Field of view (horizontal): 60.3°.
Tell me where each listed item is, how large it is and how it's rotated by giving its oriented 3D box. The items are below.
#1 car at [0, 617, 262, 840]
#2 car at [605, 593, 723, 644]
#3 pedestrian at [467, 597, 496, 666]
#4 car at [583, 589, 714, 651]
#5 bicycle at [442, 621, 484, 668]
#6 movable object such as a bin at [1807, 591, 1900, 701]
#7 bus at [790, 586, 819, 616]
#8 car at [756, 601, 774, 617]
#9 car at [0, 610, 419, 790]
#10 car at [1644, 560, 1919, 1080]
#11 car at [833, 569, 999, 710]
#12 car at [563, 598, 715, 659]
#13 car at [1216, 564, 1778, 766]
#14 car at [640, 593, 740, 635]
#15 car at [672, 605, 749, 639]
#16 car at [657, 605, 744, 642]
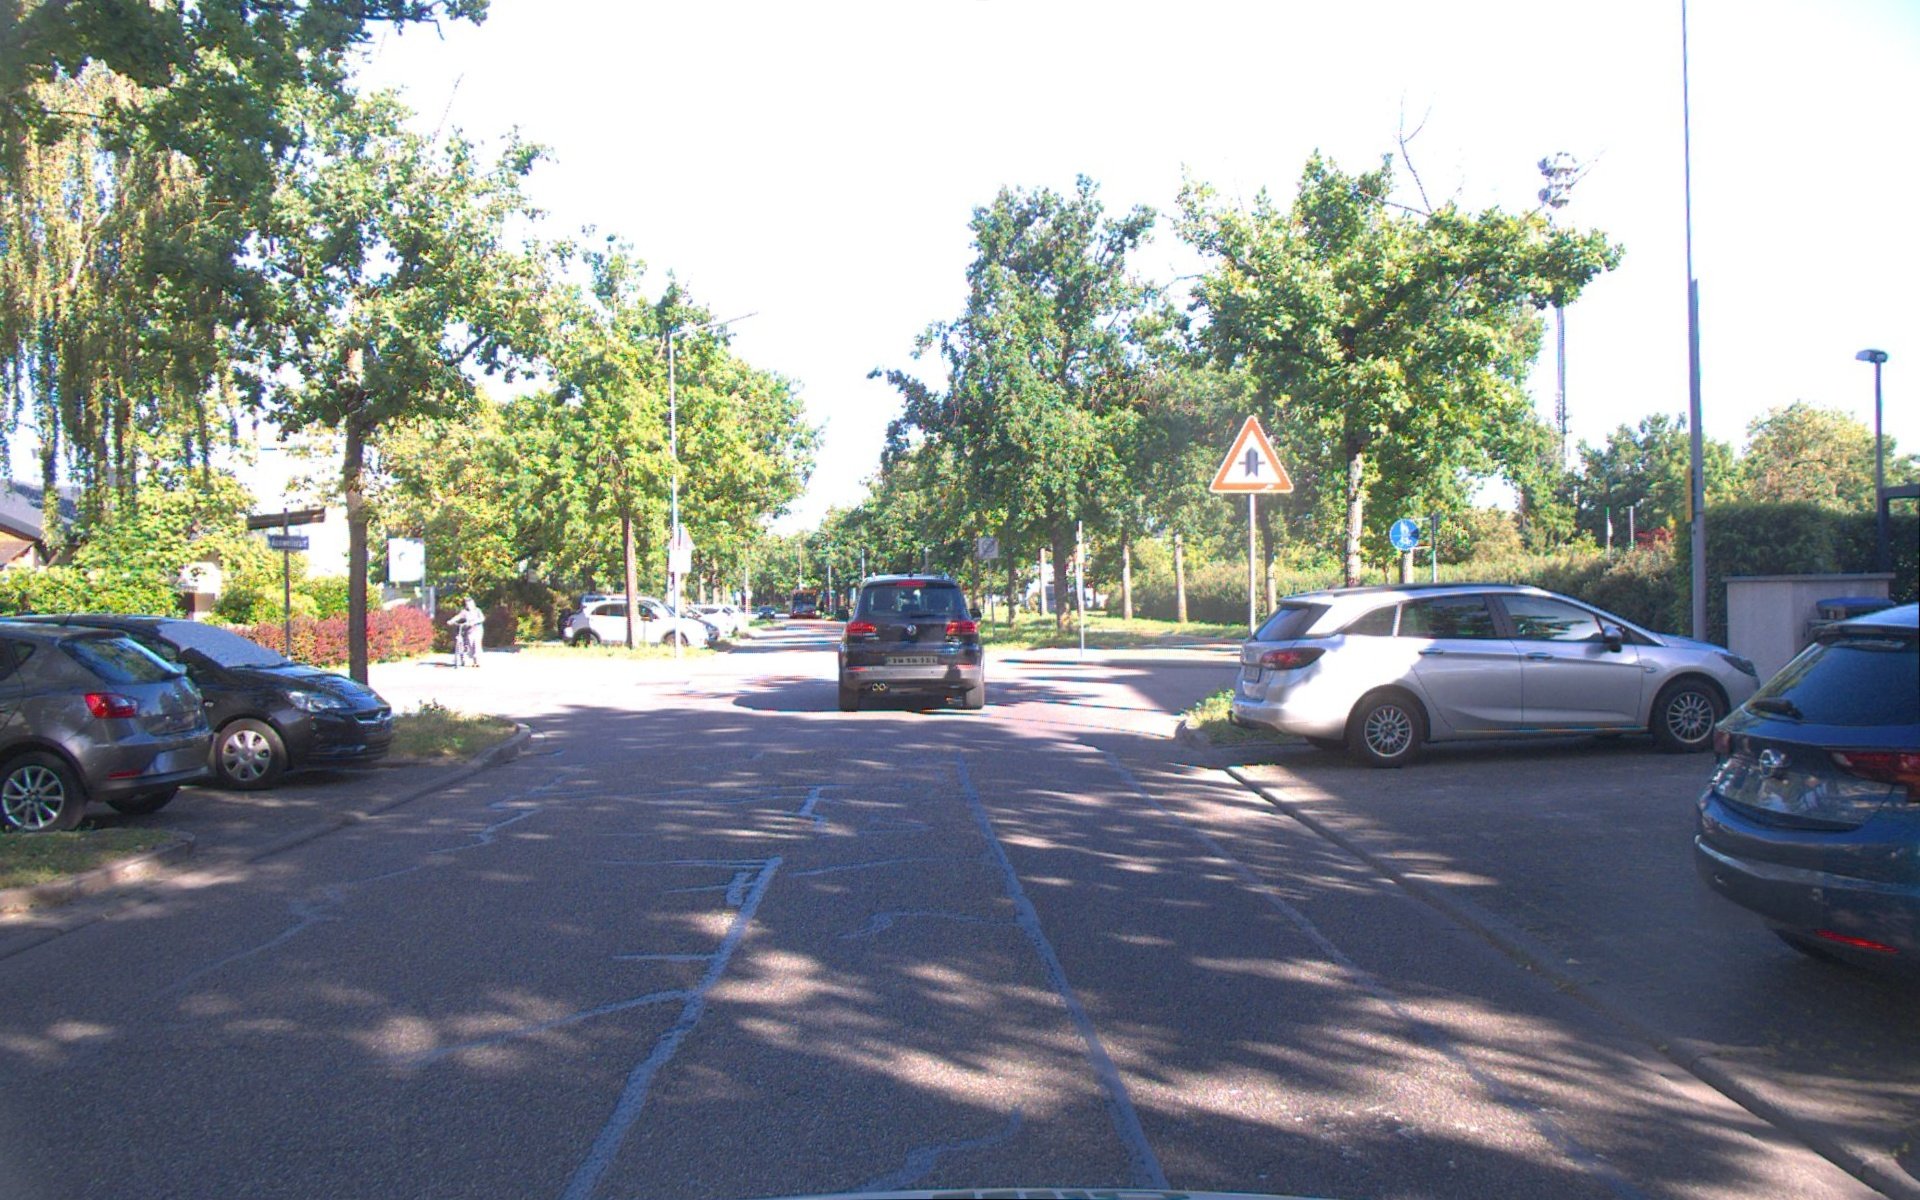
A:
[{"bbox_3d":[-7.222,0.858,11.782,3.741,1.444,1.772,0,0,-2],"label":"car"},{"bbox_3d":[-10.501,0.627,58.915,3.937,1.676,1.895,-1,0,-4],"label":"car"},{"bbox_3d":[-11.201,0.731,38.741,0.432,1.584,0.801,-1,-1,-1],"label":"pedestrian"},{"bbox_3d":[-10.128,0.631,54.024,3.937,1.872,1.895,-2,1,-4],"label":"car"},{"bbox_3d":[-11.637,1.019,38.767,0.438,1.057,1.892,-1,-1,-1],"label":"bicycle"},{"bbox_3d":[8.941,0.453,16.566,0.523,1.063,0.699,-1,0,-2],"label":"movable object such as a bin"},{"bbox_3d":[-16.685,0.113,178.093,2.871,3.056,5.732,-1,-1,-4],"label":"bus"},{"bbox_3d":[-21.280,1.023,180.572,1.816,1.723,3.952,-1,-1,-4],"label":"car"},{"bbox_3d":[-7.004,0.849,14.757,3.778,1.484,1.713,0,0,0],"label":"car"},{"bbox_3d":[4.860,0.583,5.764,4.189,1.529,1.797,-2,0,0],"label":"car"},{"bbox_3d":[-0.480,0.467,21.579,1.799,1.665,3.960,0,0,4],"label":"car"},{"bbox_3d":[-9.374,0.821,48.584,4.158,1.651,1.895,-1,0,-4],"label":"car"},{"bbox_3d":[4.567,0.530,14.545,4.337,1.517,1.797,-2,0,0],"label":"car"},{"bbox_3d":[-11.228,0.581,68.969,3.937,1.676,1.809,-1,0,-4],"label":"car"},{"bbox_3d":[-13.491,1.181,89.628,3.937,1.676,1.809,-1,0,-4],"label":"car"},{"bbox_3d":[-12.416,1.116,79.323,3.937,1.676,1.809,-1,0,-4],"label":"car"}]
